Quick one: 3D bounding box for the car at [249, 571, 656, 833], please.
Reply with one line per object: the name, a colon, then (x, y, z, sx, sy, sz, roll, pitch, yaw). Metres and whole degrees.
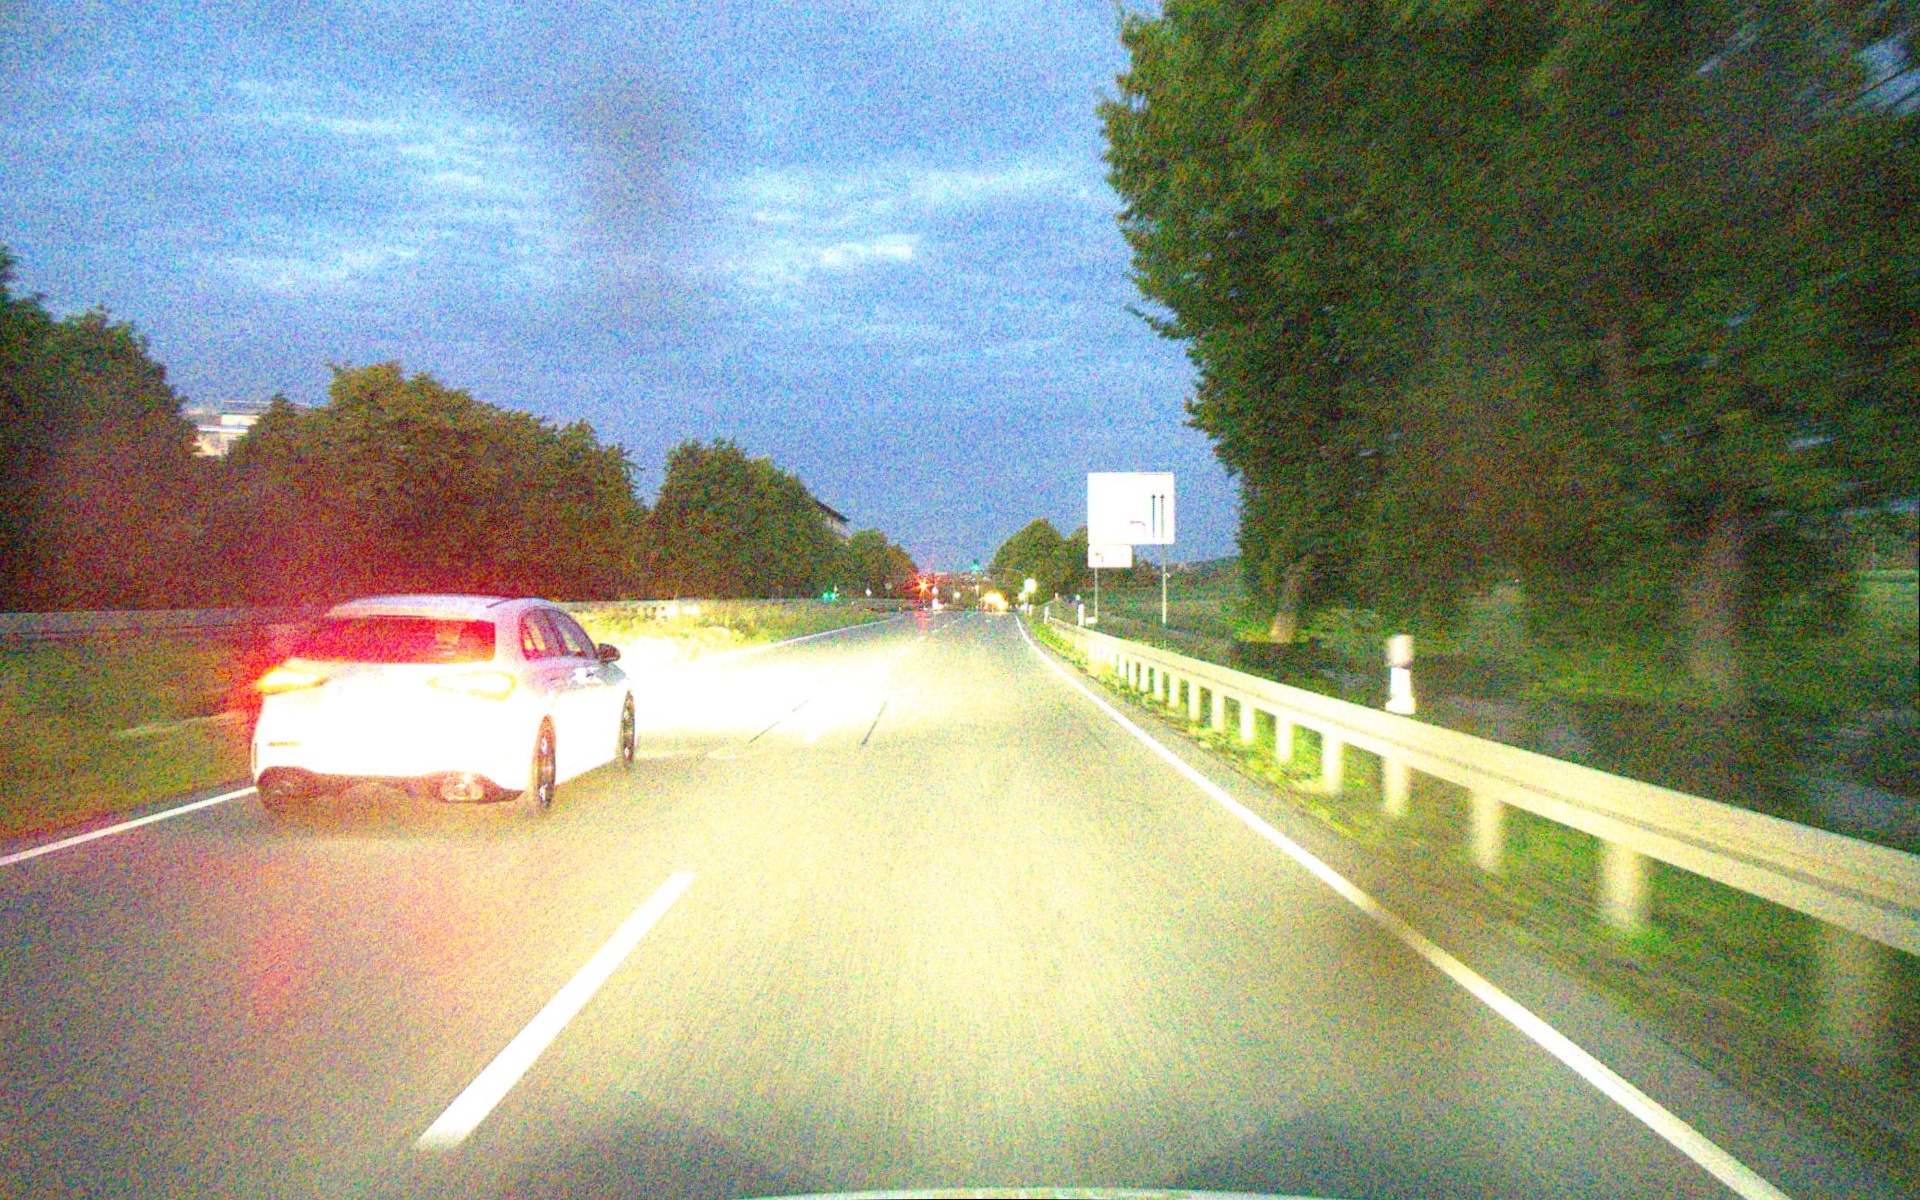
car: (-3.405, 0.588, 12.023, 1.608, 1.516, 4.578, 1, 0, -1)
